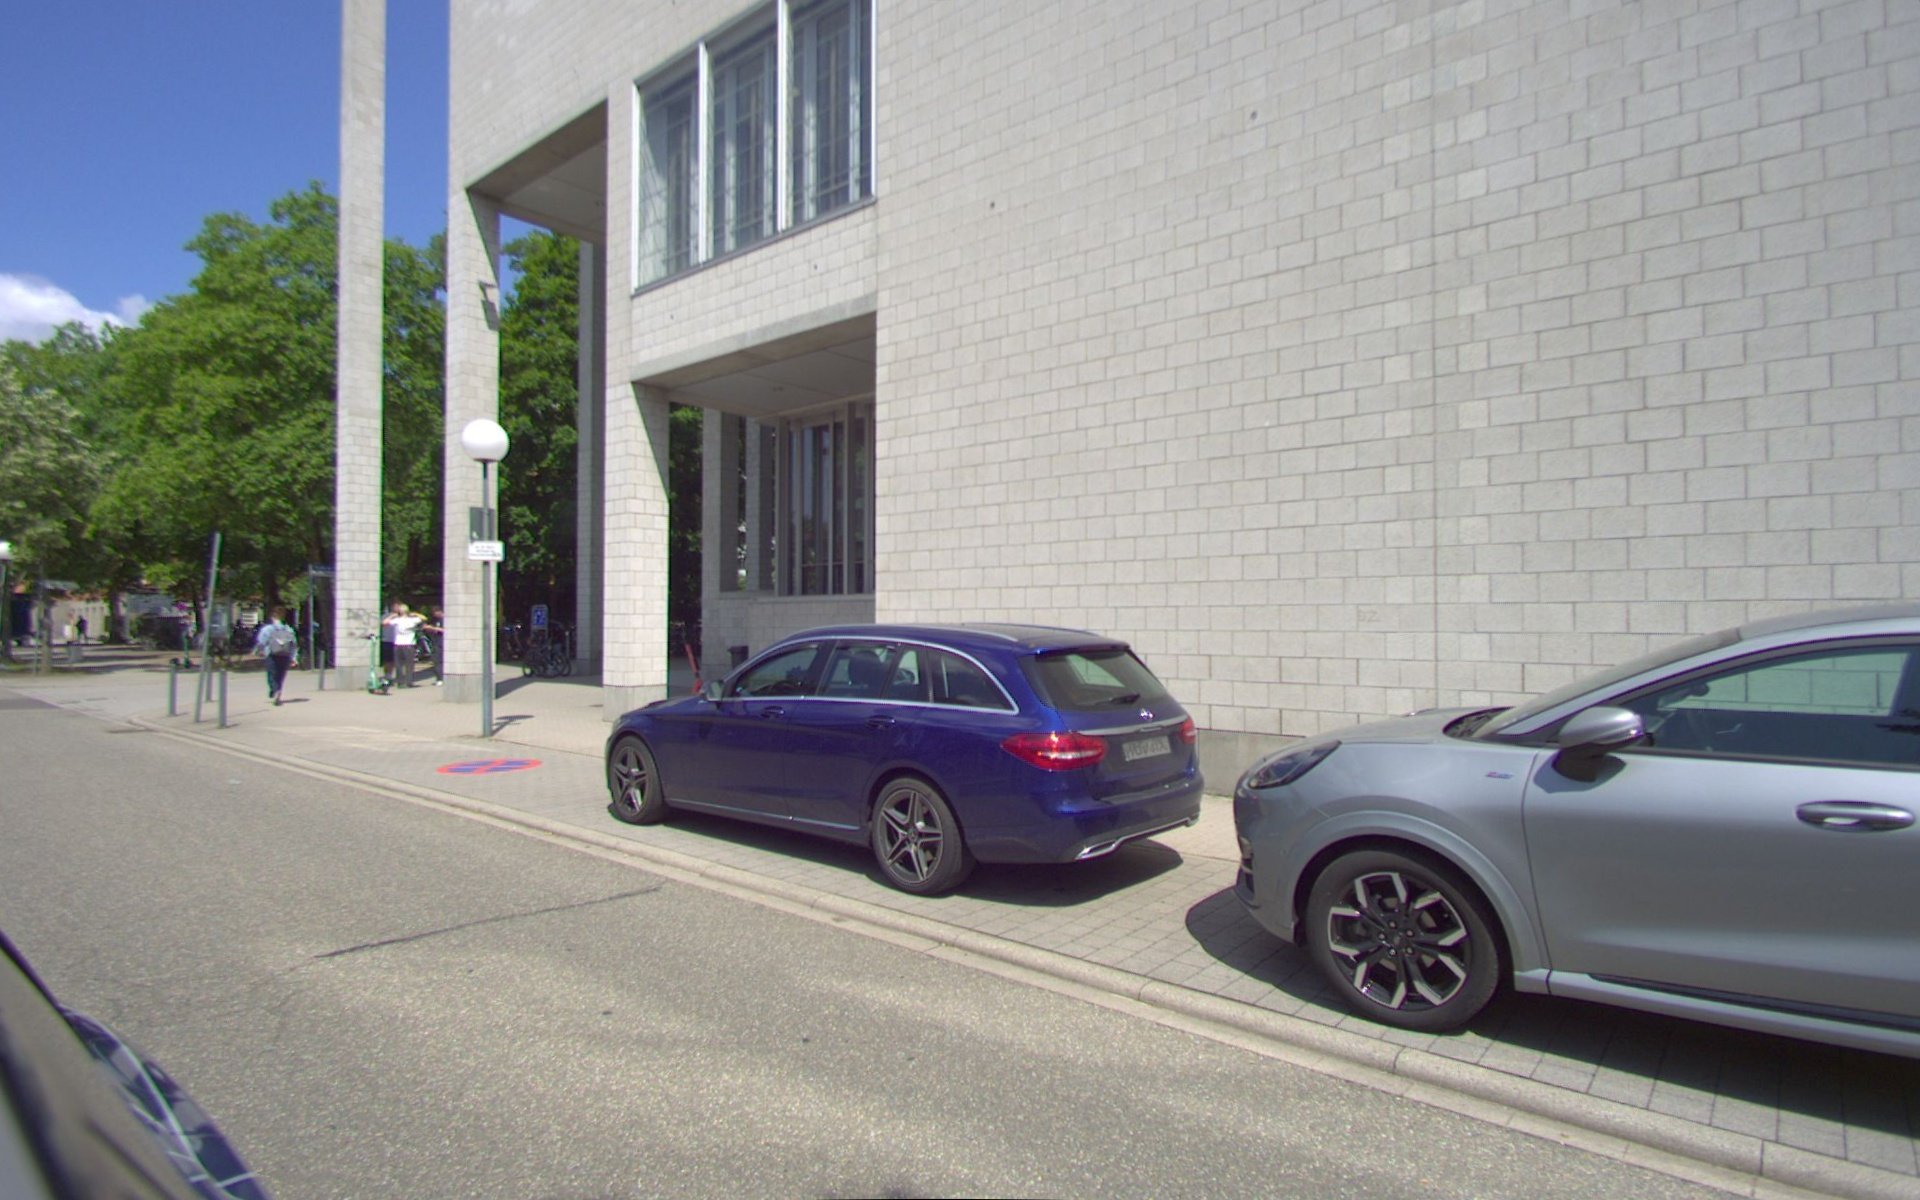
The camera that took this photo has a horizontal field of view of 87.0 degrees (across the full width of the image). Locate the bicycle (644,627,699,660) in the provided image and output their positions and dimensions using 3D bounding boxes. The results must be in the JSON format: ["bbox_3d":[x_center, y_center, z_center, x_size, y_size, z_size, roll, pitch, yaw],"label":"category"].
[{"bbox_3d":[-12.118,1.826,42.513,2.148,1.343,0.621,0,-1,6],"label":"bicycle"}]

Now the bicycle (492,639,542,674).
[{"bbox_3d":[-14.307,1.803,32.652,2.122,1.066,0.614,-1,-1,40],"label":"bicycle"}]

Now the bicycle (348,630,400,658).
[{"bbox_3d":[-25.123,1.873,43.466,0.745,1.115,2.117,0,-1,10],"label":"bicycle"}]

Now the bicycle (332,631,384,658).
[{"bbox_3d":[-25.919,1.907,43.605,0.745,1.115,2.117,0,-1,10],"label":"bicycle"}]

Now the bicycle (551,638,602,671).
[{"bbox_3d":[-12.958,1.822,34.164,2.173,1.066,0.614,-1,-1,40],"label":"bicycle"}]

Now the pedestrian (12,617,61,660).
[{"bbox_3d":[-39.774,1.642,43.597,1.368,1.838,1.382,-1,-1,40],"label":"pedestrian"}]

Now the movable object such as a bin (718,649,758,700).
[{"bbox_3d":[-4.528,1.509,20.610,0.701,0.986,0.478,-1,-2,40],"label":"movable object such as a bin"}]

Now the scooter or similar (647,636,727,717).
[{"bbox_3d":[-4.336,1.207,16.096,1.196,1.241,0.402,0,-1,-9],"label":"scooter or similar"}]

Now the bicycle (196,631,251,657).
[{"bbox_3d":[-32.818,1.953,45.149,0.676,1.115,2.117,0,-1,10],"label":"bicycle"}]

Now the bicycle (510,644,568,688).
[{"bbox_3d":[-10.336,1.594,24.827,1.965,0.994,0.588,-1,-1,44],"label":"bicycle"}]

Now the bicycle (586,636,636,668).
[{"bbox_3d":[-12.143,1.798,35.184,2.173,1.066,0.614,-1,-1,40],"label":"bicycle"}]

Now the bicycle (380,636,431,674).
[{"bbox_3d":[-16.594,1.612,30.250,2.122,1.066,0.614,-1,-1,40],"label":"bicycle"}]

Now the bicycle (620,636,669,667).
[{"bbox_3d":[-11.309,1.826,36.215,2.173,1.066,0.614,-1,-1,40],"label":"bicycle"}]

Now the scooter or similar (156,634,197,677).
[{"bbox_3d":[-23.442,1.644,30.299,0.702,1.200,1.620,0,-1,-28],"label":"scooter or similar"}]

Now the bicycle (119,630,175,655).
[{"bbox_3d":[-37.251,1.939,46.413,0.616,1.066,2.117,0,-1,10],"label":"bicycle"}]

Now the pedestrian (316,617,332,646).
[{"bbox_3d":[-34.590,1.706,55.033,0.500,1.543,0.583,-1,-1,19],"label":"pedestrian"}]

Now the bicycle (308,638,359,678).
[{"bbox_3d":[-17.802,1.633,28.748,2.122,1.066,0.584,-1,-1,40],"label":"bicycle"}]

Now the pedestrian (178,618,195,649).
[{"bbox_3d":[-42.340,1.820,55.394,0.669,1.683,0.815,1,-1,-44],"label":"pedestrian"}]

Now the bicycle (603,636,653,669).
[{"bbox_3d":[-11.726,1.838,35.694,2.173,1.066,0.614,-1,-1,40],"label":"bicycle"}]

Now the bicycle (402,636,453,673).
[{"bbox_3d":[-16.197,1.642,30.753,2.122,1.066,0.614,-1,-1,40],"label":"bicycle"}]

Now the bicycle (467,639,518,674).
[{"bbox_3d":[-14.934,1.788,32.311,2.122,1.066,0.614,-1,-1,40],"label":"bicycle"}]

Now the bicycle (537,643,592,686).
[{"bbox_3d":[-9.899,1.599,25.264,1.965,0.994,0.510,-1,-1,44],"label":"bicycle"}]

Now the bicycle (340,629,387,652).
[{"bbox_3d":[-28.245,1.903,47.950,0.676,1.066,2.117,0,-1,10],"label":"bicycle"}]

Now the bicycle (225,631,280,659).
[{"bbox_3d":[-31.348,1.981,44.870,0.745,1.166,2.117,0,-1,10],"label":"bicycle"}]

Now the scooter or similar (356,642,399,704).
[{"bbox_3d":[-11.356,1.407,19.717,1.312,1.153,0.313,-1,-2,40],"label":"scooter or similar"}]

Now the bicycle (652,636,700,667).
[{"bbox_3d":[-10.461,1.876,37.250,2.173,1.066,0.614,-1,-1,40],"label":"bicycle"}]

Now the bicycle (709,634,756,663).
[{"bbox_3d":[-8.852,1.875,39.337,2.173,1.066,0.614,-1,-1,40],"label":"bicycle"}]

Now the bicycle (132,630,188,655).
[{"bbox_3d":[-36.536,1.933,46.244,0.616,1.066,2.117,0,-1,10],"label":"bicycle"}]

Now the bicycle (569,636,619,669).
[{"bbox_3d":[-12.552,1.776,34.682,2.173,1.066,0.614,-1,-1,40],"label":"bicycle"}]

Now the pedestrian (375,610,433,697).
[{"bbox_3d":[-11.829,1.121,21.533,1.080,1.794,0.745,-1,-2,40],"label":"pedestrian"}]

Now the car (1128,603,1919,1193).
[{"bbox_3d":[2.935,0.799,3.495,4.403,1.546,1.708,0,0,41],"label":"car"}]

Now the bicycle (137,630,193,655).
[{"bbox_3d":[-35.970,1.924,45.828,0.616,1.066,2.117,0,-1,10],"label":"bicycle"}]

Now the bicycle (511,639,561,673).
[{"bbox_3d":[-13.899,1.815,33.184,2.122,1.066,0.614,-1,-1,40],"label":"bicycle"}]

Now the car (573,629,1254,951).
[{"bbox_3d":[-0.610,0.921,6.762,4.662,1.434,1.708,-1,-2,41],"label":"car"}]

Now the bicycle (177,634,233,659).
[{"bbox_3d":[-33.790,2.061,45.351,0.676,1.066,2.117,0,-1,10],"label":"bicycle"}]

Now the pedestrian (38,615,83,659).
[{"bbox_3d":[-42.052,1.703,47.339,1.368,2.029,1.382,-1,-1,40],"label":"pedestrian"}]

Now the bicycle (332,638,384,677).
[{"bbox_3d":[-17.410,1.638,29.242,2.122,1.066,0.614,-1,-1,40],"label":"bicycle"}]

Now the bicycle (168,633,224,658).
[{"bbox_3d":[-34.532,2.023,45.760,0.676,1.066,2.117,0,-1,10],"label":"bicycle"}]

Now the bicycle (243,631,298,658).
[{"bbox_3d":[-30.417,1.949,44.664,0.745,1.115,2.117,0,-1,10],"label":"bicycle"}]

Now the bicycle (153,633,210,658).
[{"bbox_3d":[-35.261,2.058,45.877,0.676,1.066,2.117,0,-1,10],"label":"bicycle"}]

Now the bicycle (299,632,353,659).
[{"bbox_3d":[-27.506,1.948,43.930,0.745,1.115,2.117,0,-1,10],"label":"bicycle"}]

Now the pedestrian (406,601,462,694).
[{"bbox_3d":[-11.710,1.039,22.534,1.080,2.029,0.745,-1,-2,40],"label":"pedestrian"}]

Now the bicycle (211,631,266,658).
[{"bbox_3d":[-32.086,1.963,45.019,0.676,1.115,2.117,0,-1,10],"label":"bicycle"}]

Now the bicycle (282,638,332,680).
[{"bbox_3d":[-18.226,1.618,28.224,1.997,1.115,0.502,-1,-2,36],"label":"bicycle"}]

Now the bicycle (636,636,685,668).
[{"bbox_3d":[-10.879,1.871,36.735,2.173,1.066,0.614,-1,-1,40],"label":"bicycle"}]

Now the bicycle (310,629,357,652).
[{"bbox_3d":[-29.953,1.916,48.409,0.676,1.066,2.117,0,-1,10],"label":"bicycle"}]

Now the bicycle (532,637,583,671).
[{"bbox_3d":[-13.399,1.794,33.675,2.173,1.066,0.614,-1,-1,40],"label":"bicycle"}]

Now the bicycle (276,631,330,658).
[{"bbox_3d":[-28.690,1.912,44.214,0.745,1.115,2.117,0,-1,10],"label":"bicycle"}]

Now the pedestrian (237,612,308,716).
[{"bbox_3d":[-12.213,1.104,17.963,1.235,1.738,0.751,-1,1,43],"label":"pedestrian"}]

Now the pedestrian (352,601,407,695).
[{"bbox_3d":[-12.913,1.045,22.514,1.080,2.029,0.745,-1,-2,40],"label":"pedestrian"}]

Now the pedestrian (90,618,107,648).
[{"bbox_3d":[-48.598,1.876,57.105,0.669,1.683,0.815,1,-1,-44],"label":"pedestrian"}]

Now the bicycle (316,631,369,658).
[{"bbox_3d":[-26.683,1.912,43.745,0.745,1.115,2.117,0,-1,10],"label":"bicycle"}]
